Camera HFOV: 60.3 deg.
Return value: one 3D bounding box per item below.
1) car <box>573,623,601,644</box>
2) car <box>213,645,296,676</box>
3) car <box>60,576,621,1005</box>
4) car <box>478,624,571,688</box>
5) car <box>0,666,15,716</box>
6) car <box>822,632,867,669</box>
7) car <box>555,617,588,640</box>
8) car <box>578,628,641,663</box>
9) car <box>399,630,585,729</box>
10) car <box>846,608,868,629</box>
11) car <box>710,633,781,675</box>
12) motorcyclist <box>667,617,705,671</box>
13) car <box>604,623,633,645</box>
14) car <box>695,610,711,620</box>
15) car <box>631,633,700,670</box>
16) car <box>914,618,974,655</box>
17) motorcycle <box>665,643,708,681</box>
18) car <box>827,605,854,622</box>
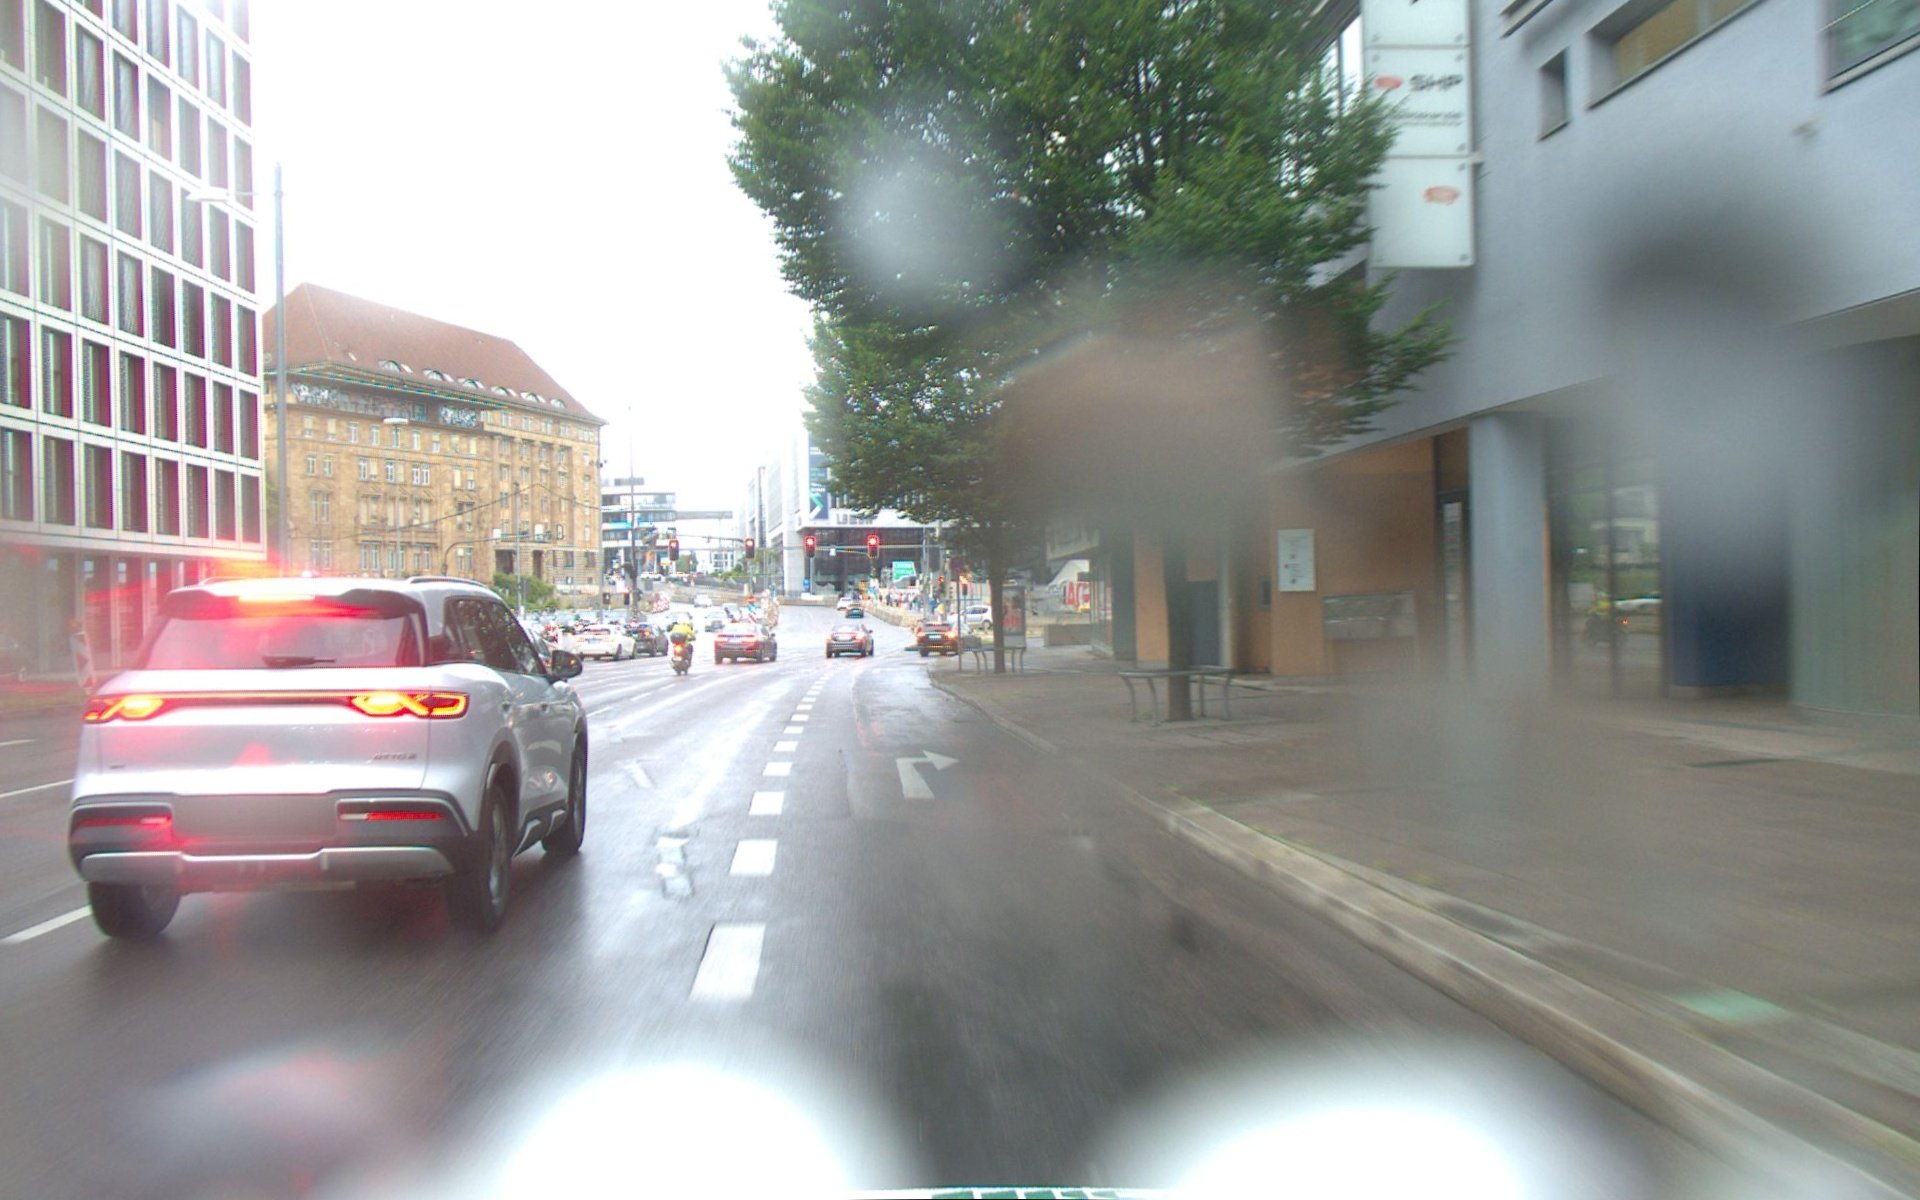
[{"bbox_3d":[-29.203,2.652,129.589,1.665,1.601,3.995,0,-1,-6],"label":"car"},{"bbox_3d":[-40.806,3.493,95.744,4.316,1.691,1.988,0,-1,-20],"label":"car"},{"bbox_3d":[-2.907,0.794,8.749,1.773,1.690,4.165,0,-1,-6],"label":"car"},{"bbox_3d":[-11.651,1.472,44.470,1.699,1.644,3.996,0,-1,-4],"label":"car"},{"bbox_3d":[-29.211,2.731,47.794,1.664,1.449,3.952,-3,-1,-4],"label":"car"},{"bbox_3d":[-5.063,2.214,73.168,1.747,1.427,4.485,-1,1,-1],"label":"car"},{"bbox_3d":[-28.505,2.084,121.549,1.664,1.545,3.871,-3,-1,-4],"label":"car"},{"bbox_3d":[-14.617,1.892,69.131,1.746,1.397,3.993,-1,-1,0],"label":"car"},{"bbox_3d":[-7.355,1.210,26.432,1.697,1.428,4.383,-1,-1,0],"label":"car"},{"bbox_3d":[-10.226,1.834,164.630,1.955,2.049,3.994,0,-1,-7],"label":"car"},{"bbox_3d":[-8.378,2.085,64.986,1.847,1.541,5.004,-1,-1,3],"label":"car"},{"bbox_3d":[-7.834,1.255,47.327,0.922,1.501,1.100,0,-1,-3],"label":"motorcyclist"},{"bbox_3d":[-25.819,2.578,125.143,1.767,1.601,4.069,0,-1,-6],"label":"car"},{"bbox_3d":[-34.610,1.975,223.125,1.732,1.283,4.191,0,-1,-3],"label":"car"},{"bbox_3d":[-13.457,2.351,75.807,1.745,1.628,4.076,-1,-1,12],"label":"car"},{"bbox_3d":[-0.659,1.569,71.448,1.851,1.571,3.996,-1,-1,11],"label":"car"},{"bbox_3d":[-7.827,1.755,47.372,0.923,1.007,2.293,0,0,-2],"label":"motorcycle"},{"bbox_3d":[-13.959,1.571,193.494,1.967,1.848,3.970,0,-1,-24],"label":"car"}]
